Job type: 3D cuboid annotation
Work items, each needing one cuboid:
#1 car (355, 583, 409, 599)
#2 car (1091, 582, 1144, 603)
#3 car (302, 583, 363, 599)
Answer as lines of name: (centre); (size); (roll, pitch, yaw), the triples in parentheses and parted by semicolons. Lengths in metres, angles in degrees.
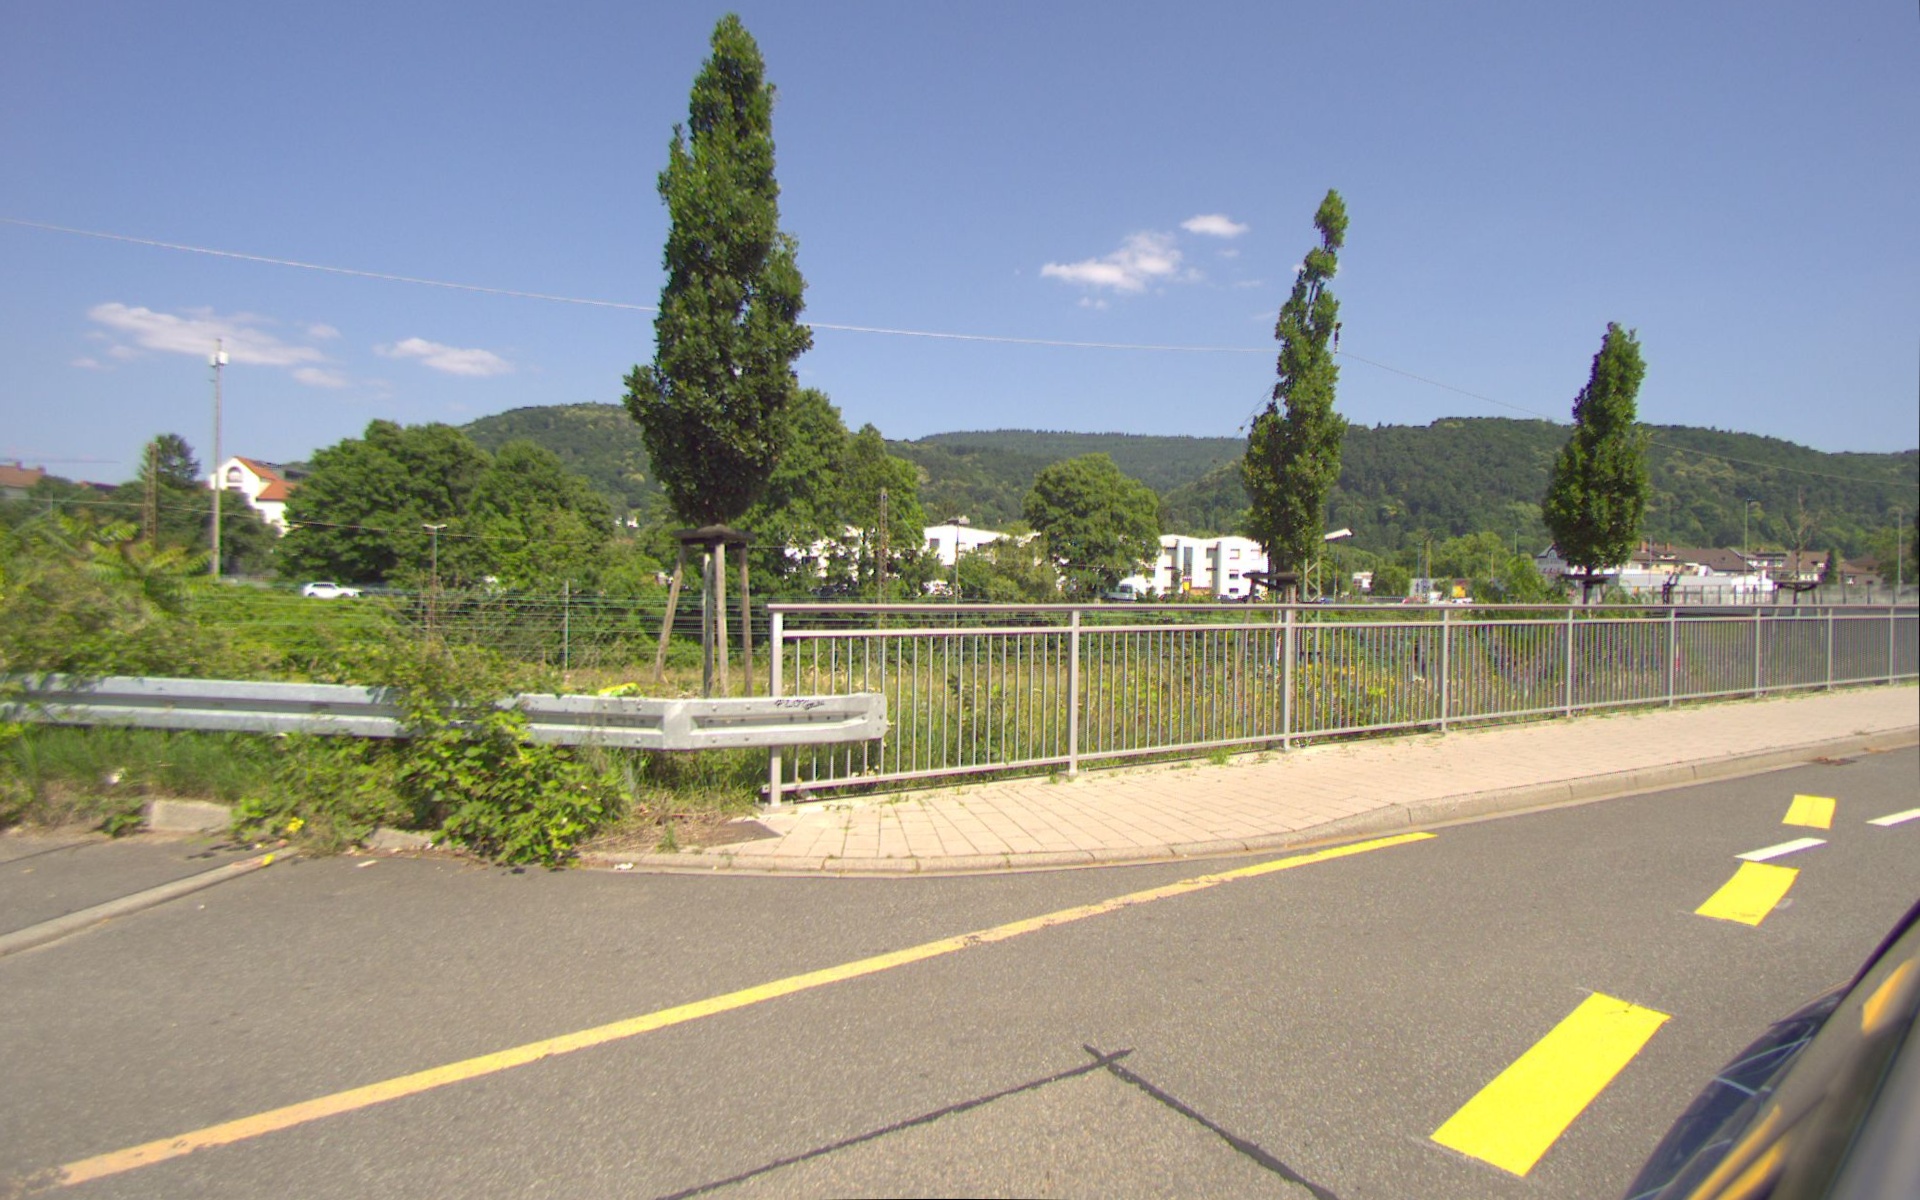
car: (-50.591, -0.777, 88.609); (3.768, 1.384, 1.784); (0, 1, -2)
car: (17.545, -0.835, 112.964); (5.403, 2.130, 2.138); (-1, -4, -19)
car: (-54.965, -0.816, 88.657); (4.233, 1.384, 1.866); (0, 1, 0)
